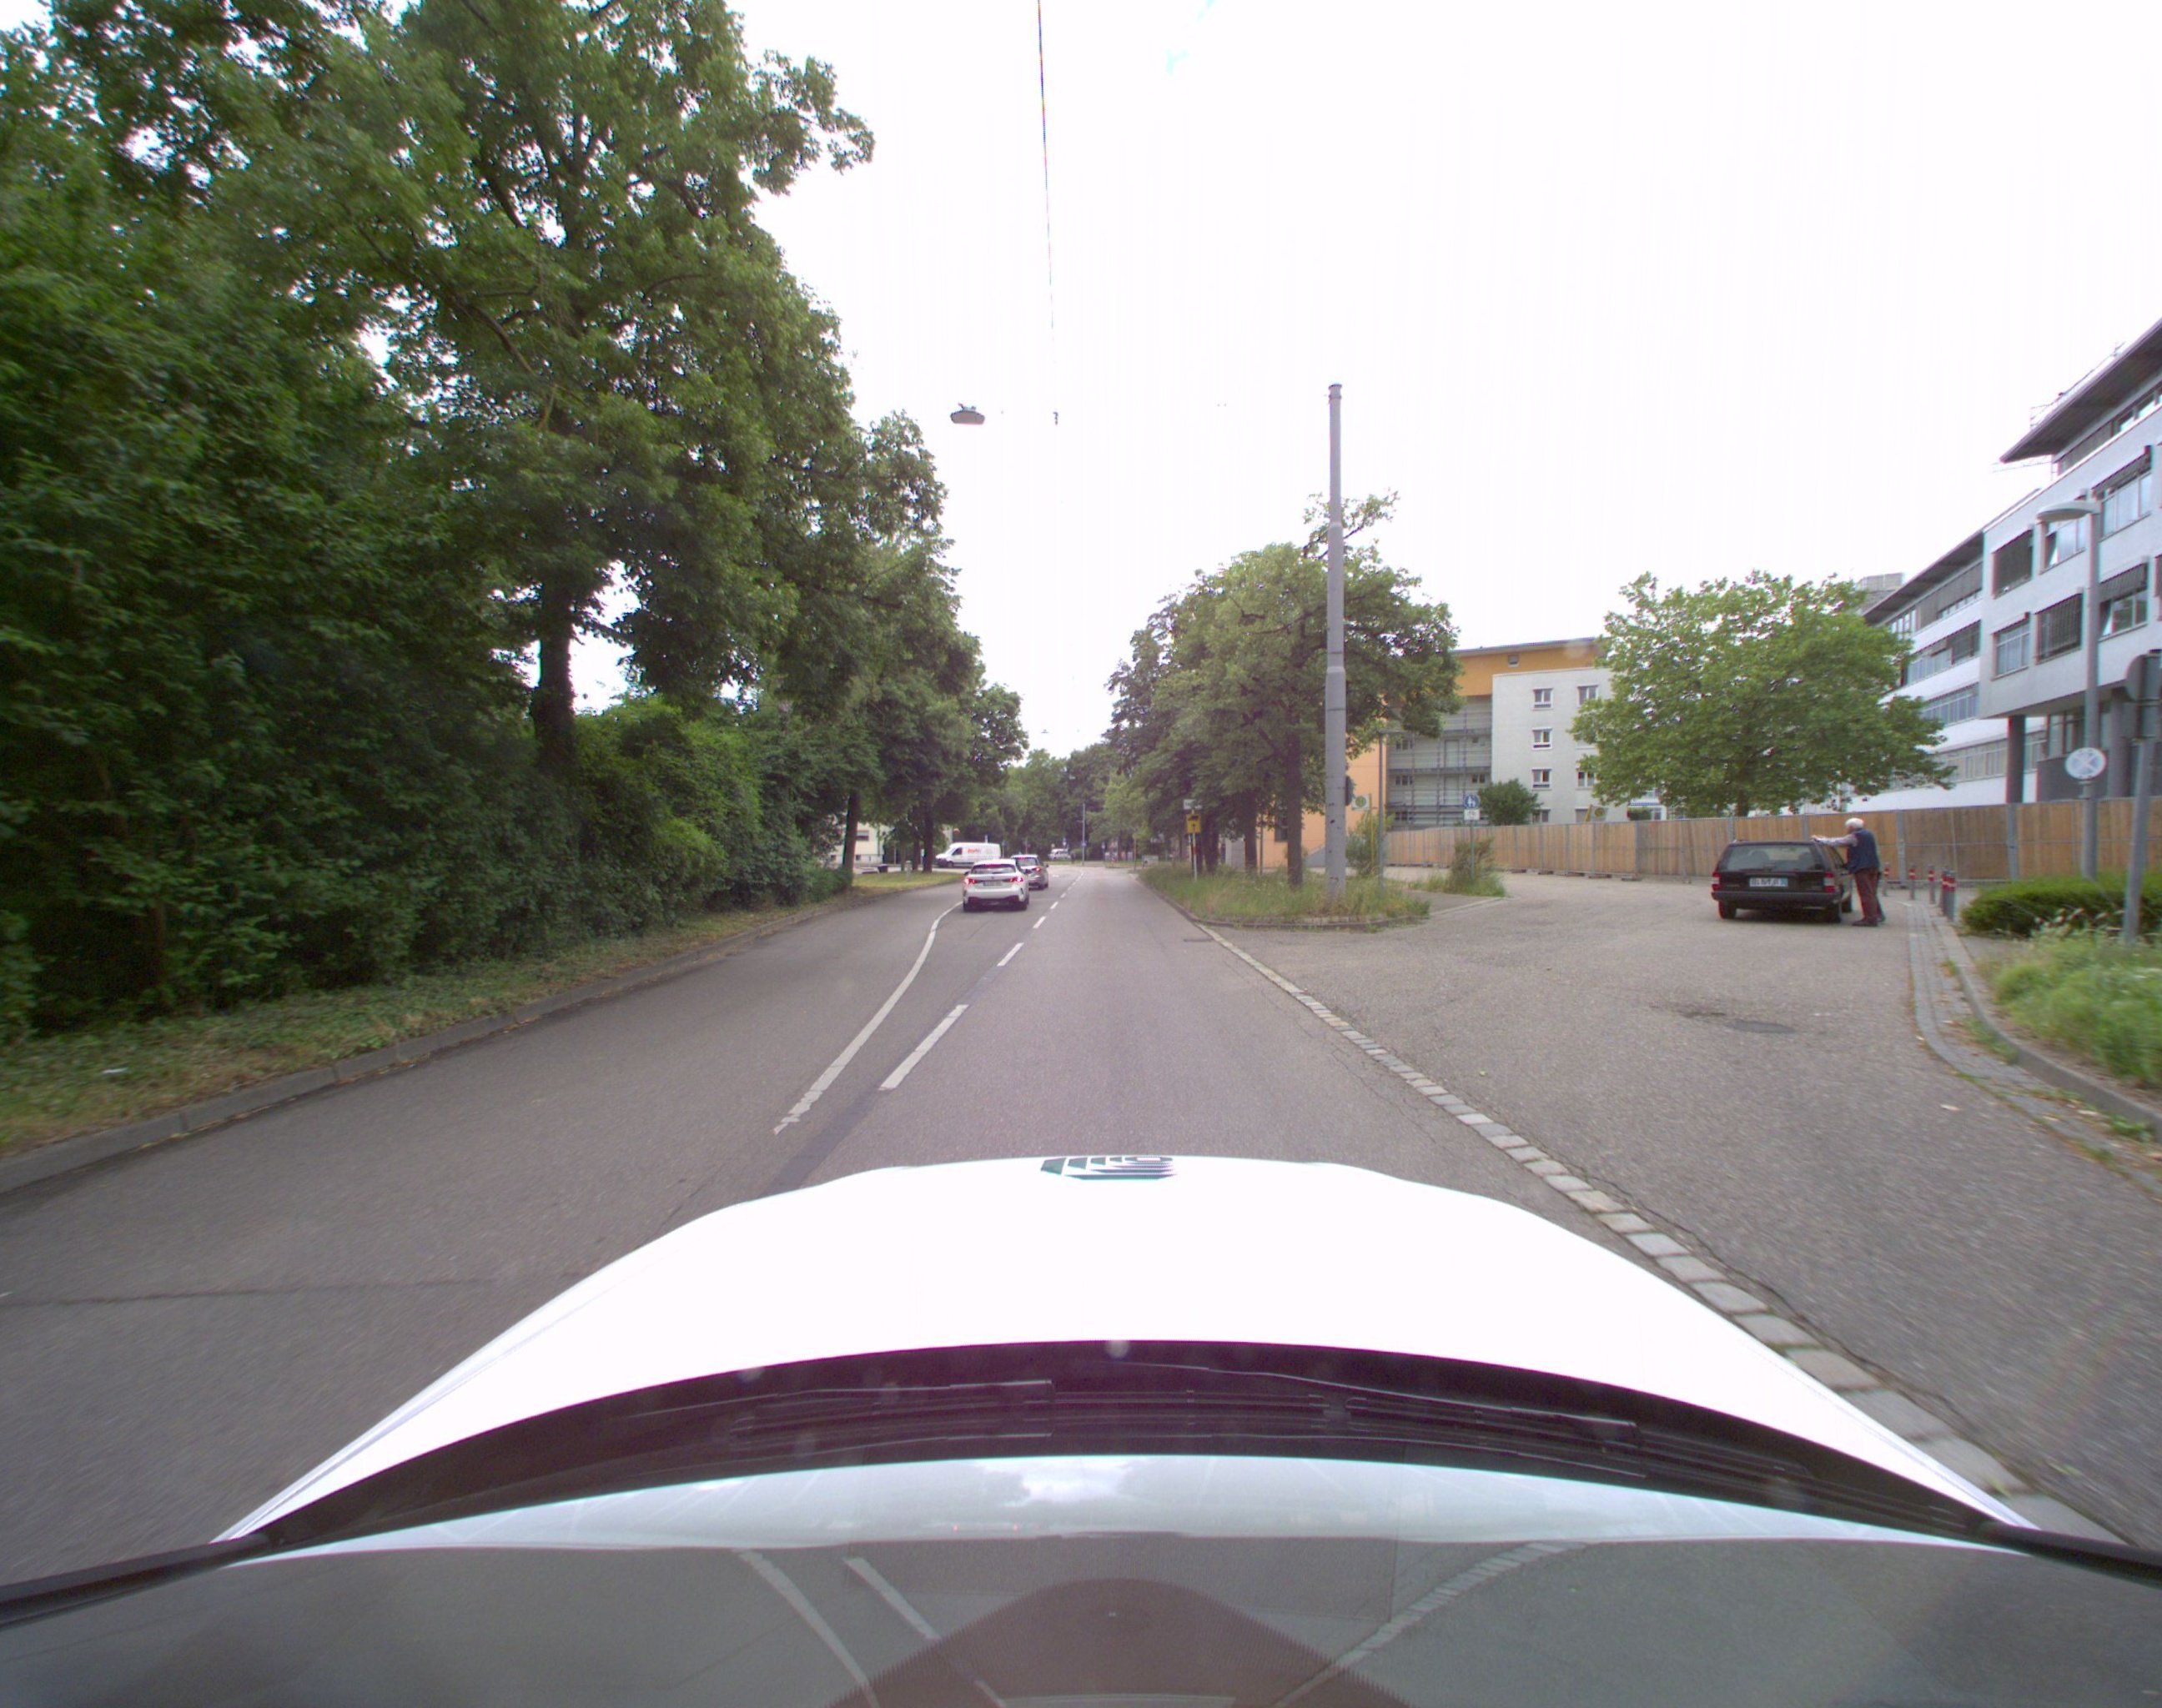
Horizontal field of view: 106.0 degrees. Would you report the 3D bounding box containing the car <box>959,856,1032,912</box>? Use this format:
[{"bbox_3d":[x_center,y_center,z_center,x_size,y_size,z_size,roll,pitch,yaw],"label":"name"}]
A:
[{"bbox_3d":[-2.468,0.838,24.431,1.791,1.517,4.204,-1,0,-1],"label":"car"}]

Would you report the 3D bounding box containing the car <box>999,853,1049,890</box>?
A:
[{"bbox_3d":[-2.517,0.760,36.997,1.916,1.574,4.001,0,0,1],"label":"car"}]

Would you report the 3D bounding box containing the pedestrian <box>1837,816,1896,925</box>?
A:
[{"bbox_3d":[13.085,0.260,13.572,0.476,1.754,0.579,-4,4,-29],"label":"pedestrian"}]

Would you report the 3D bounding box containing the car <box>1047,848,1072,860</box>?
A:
[{"bbox_3d":[-4.551,-0.070,172.952,2.111,2.297,5.419,3,1,40],"label":"car"}]

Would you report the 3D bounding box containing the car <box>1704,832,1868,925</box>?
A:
[{"bbox_3d":[13.578,0.371,15.580,4.769,1.516,1.848,-1,0,-43],"label":"car"}]

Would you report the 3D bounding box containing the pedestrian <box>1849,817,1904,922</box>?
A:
[{"bbox_3d":[13.563,0.251,13.885,0.500,1.725,0.531,-4,4,-29],"label":"pedestrian"}]

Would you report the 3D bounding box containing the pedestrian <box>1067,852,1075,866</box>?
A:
[{"bbox_3d":[-1.370,0.699,113.112,0.921,1.871,1.018,-4,3,-3],"label":"pedestrian"}]

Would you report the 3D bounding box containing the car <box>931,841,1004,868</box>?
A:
[{"bbox_3d":[-11.258,0.106,81.133,7.011,2.521,2.062,1,1,-36],"label":"car"}]
